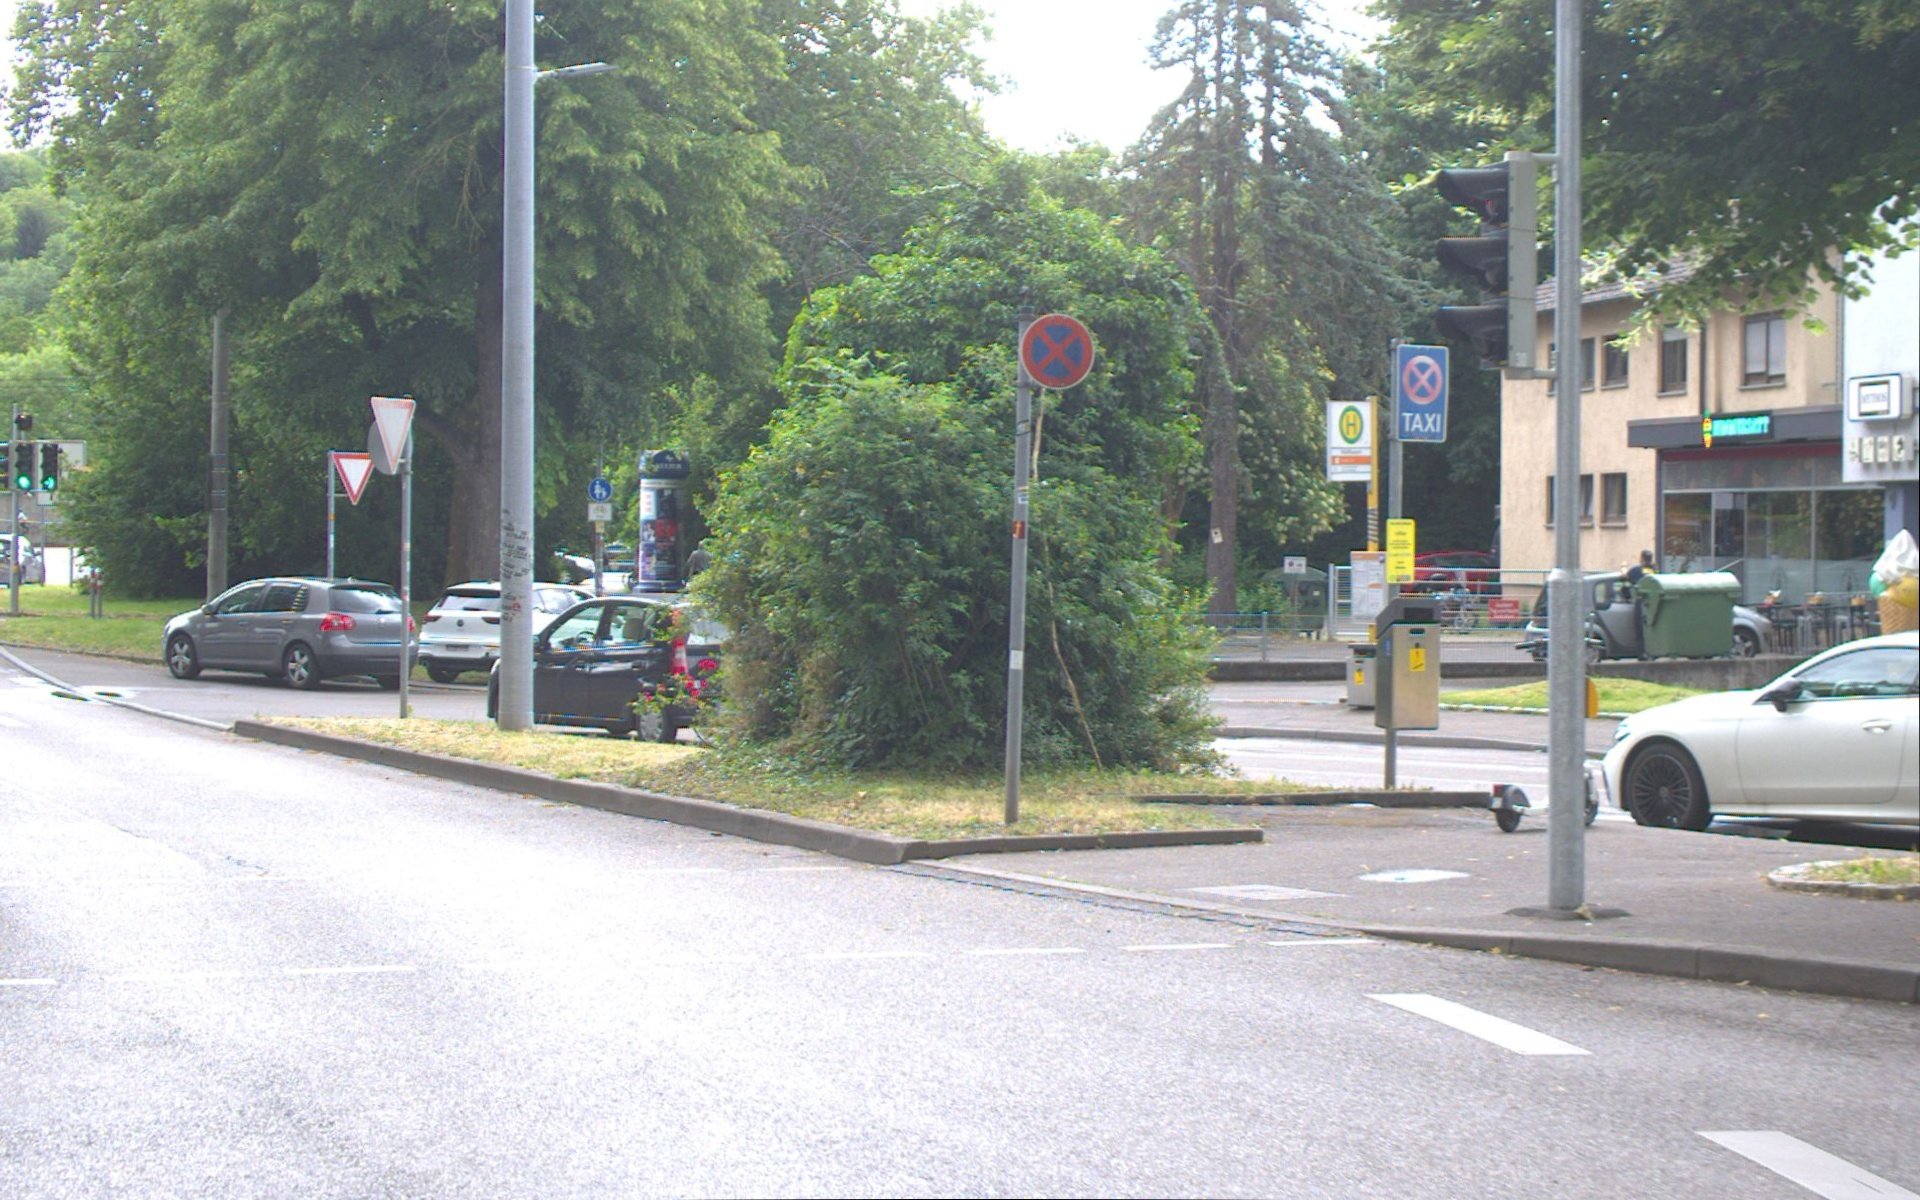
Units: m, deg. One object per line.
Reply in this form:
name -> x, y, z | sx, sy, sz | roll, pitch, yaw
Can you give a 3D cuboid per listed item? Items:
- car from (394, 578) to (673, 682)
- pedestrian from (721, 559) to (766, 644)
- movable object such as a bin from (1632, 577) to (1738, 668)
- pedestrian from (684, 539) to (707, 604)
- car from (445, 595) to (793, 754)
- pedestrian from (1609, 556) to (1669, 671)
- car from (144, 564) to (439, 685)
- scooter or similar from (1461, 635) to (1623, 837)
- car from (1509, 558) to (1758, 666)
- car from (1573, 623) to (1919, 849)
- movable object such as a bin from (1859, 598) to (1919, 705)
car -> -6.006, 0.394, 48.886 | 1.762, 1.376, 4.255 | 1, 1, 29
pedestrian -> -4.009, 0.023, 63.608 | 0.683, 1.546, 0.743 | 0, 1, -15
movable object such as a bin -> 10.749, 0.325, 50.995 | 1.216, 1.340, 0.995 | 0, 0, -15
pedestrian -> -6.266, -0.676, 81.347 | 0.510, 1.526, 0.778 | 1, 0, -6
car -> -3.419, 0.697, 34.117 | 3.492, 1.399, 1.569 | 2, 2, 45
pedestrian -> 10.260, 0.195, 51.978 | 0.687, 1.723, 0.611 | 0, 0, -15
car -> -9.117, 0.300, 46.717 | 4.109, 1.424, 1.729 | 3, 2, 41
scooter or similar -> 3.510, 0.815, 20.653 | 0.412, 1.163, 1.360 | 1, -1, 33
car -> 10.369, 0.168, 53.034 | 3.412, 1.625, 1.625 | 0, 0, -8
car -> 6.563, 0.878, 22.787 | 1.994, 1.382, 4.786 | 0, 0, -39
movable object such as a bin -> 12.813, 0.680, 45.998 | 1.214, 1.411, 1.095 | 0, 0, -5
